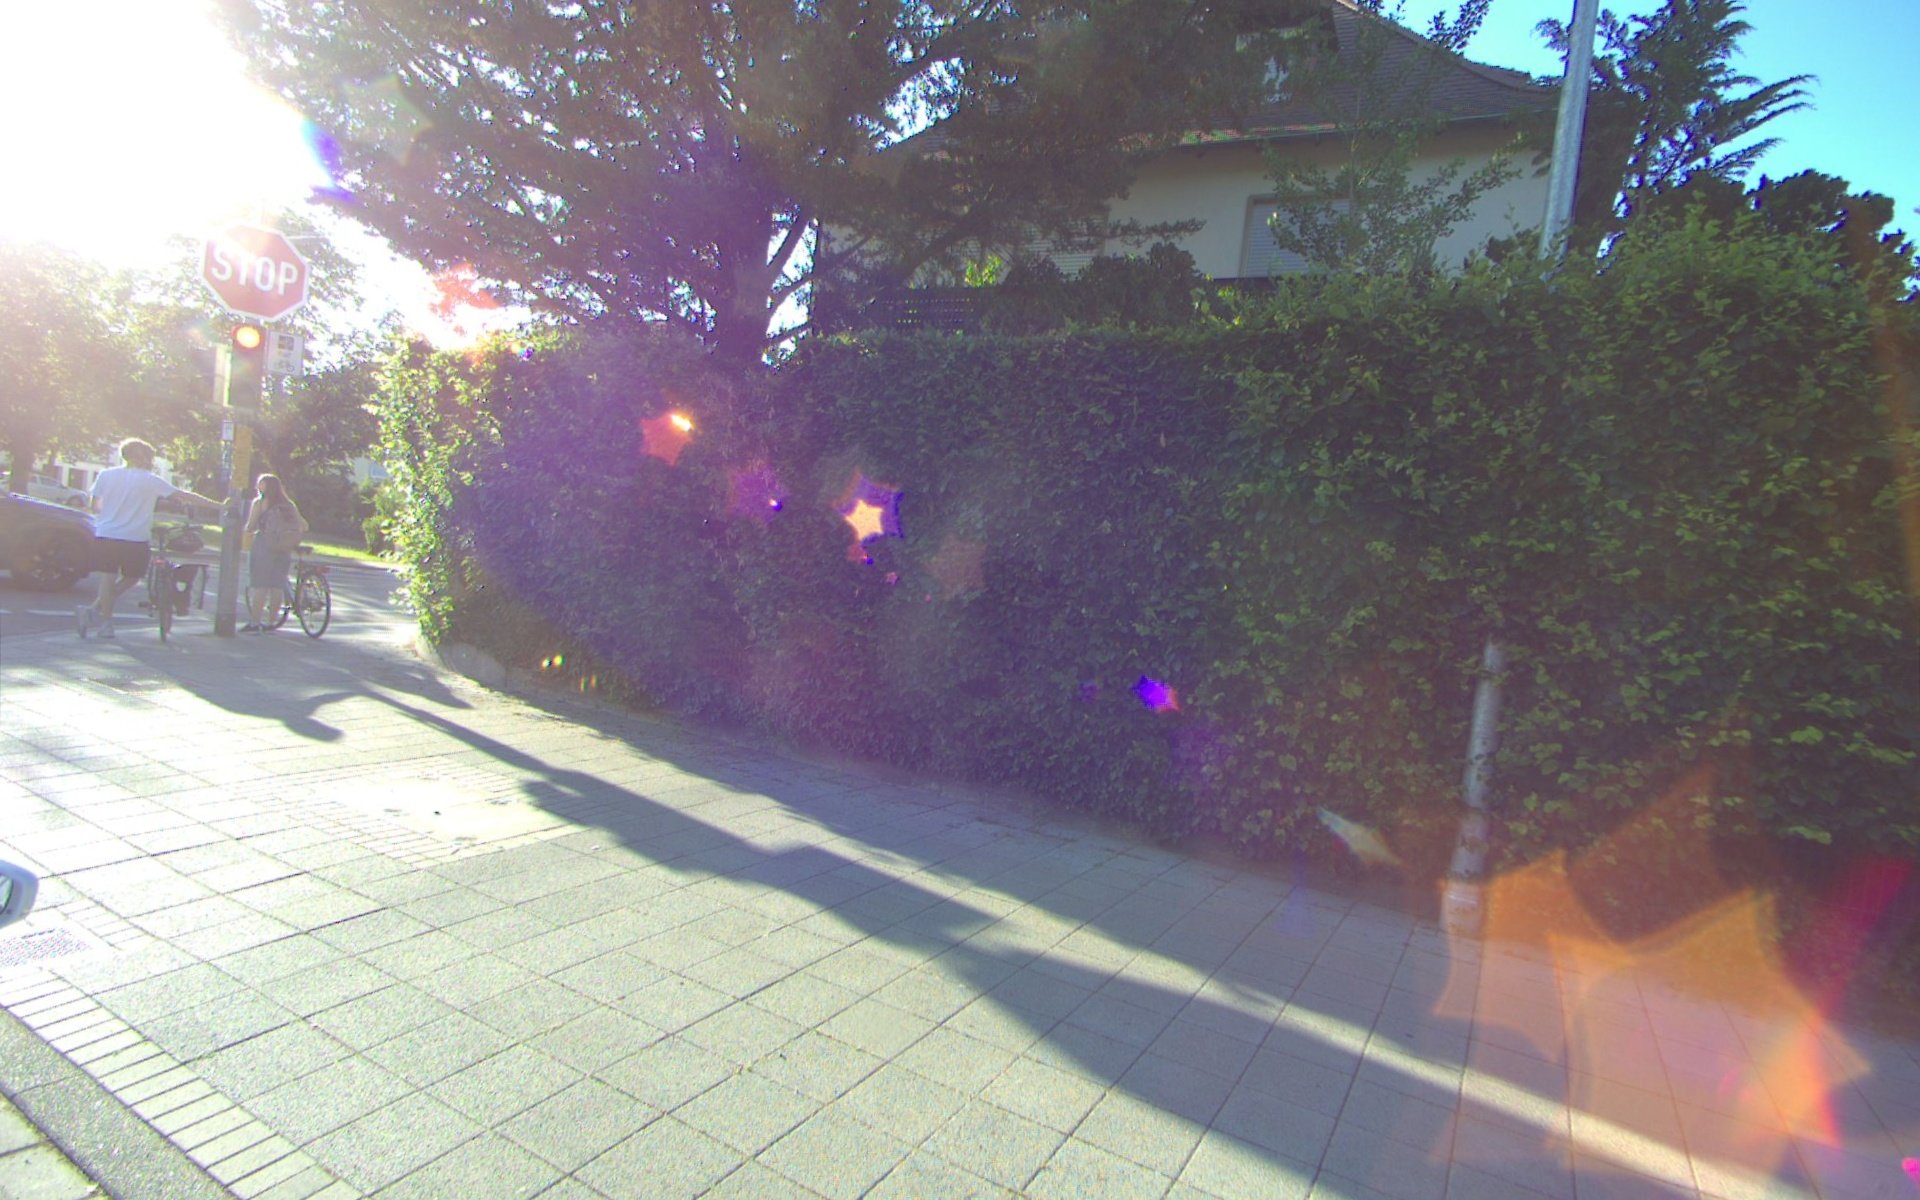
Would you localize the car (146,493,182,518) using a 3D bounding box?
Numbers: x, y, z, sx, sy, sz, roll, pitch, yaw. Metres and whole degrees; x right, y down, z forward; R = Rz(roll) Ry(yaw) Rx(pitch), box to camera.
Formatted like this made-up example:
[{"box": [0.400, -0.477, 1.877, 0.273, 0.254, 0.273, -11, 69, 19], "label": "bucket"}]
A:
[{"box": [-55.272, -6.578, 69.882, 1.654, 1.436, 3.507, 6, 1, -36], "label": "car"}]

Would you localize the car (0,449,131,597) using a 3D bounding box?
[{"box": [-12.380, -1.052, 11.121, 1.845, 1.685, 4.560, 7, 1, 21], "label": "car"}]

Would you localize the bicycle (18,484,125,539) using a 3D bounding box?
[{"box": [-23.208, -2.291, 26.315, 0.609, 1.146, 1.956, 8, 1, 32], "label": "bicycle"}]

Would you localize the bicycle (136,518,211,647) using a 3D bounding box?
[{"box": [-7.700, -0.202, 9.826, 0.484, 1.112, 1.770, 3, 3, -40], "label": "bicycle"}]

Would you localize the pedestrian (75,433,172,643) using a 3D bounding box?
[{"box": [-8.026, -0.581, 9.658, 0.666, 1.892, 0.871, -1, 5, -41], "label": "pedestrian"}]

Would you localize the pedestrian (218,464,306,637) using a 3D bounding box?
[{"box": [-7.347, -0.514, 10.588, 0.665, 1.733, 0.615, 2, 6, -40], "label": "pedestrian"}]

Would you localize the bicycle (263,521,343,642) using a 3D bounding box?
[{"box": [-7.121, -0.229, 10.878, 0.484, 1.158, 1.579, 3, 4, -40], "label": "bicycle"}]

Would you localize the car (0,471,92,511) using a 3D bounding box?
[{"box": [-46.396, -5.504, 50.544, 1.569, 1.445, 3.854, 7, 0, 26], "label": "car"}]
